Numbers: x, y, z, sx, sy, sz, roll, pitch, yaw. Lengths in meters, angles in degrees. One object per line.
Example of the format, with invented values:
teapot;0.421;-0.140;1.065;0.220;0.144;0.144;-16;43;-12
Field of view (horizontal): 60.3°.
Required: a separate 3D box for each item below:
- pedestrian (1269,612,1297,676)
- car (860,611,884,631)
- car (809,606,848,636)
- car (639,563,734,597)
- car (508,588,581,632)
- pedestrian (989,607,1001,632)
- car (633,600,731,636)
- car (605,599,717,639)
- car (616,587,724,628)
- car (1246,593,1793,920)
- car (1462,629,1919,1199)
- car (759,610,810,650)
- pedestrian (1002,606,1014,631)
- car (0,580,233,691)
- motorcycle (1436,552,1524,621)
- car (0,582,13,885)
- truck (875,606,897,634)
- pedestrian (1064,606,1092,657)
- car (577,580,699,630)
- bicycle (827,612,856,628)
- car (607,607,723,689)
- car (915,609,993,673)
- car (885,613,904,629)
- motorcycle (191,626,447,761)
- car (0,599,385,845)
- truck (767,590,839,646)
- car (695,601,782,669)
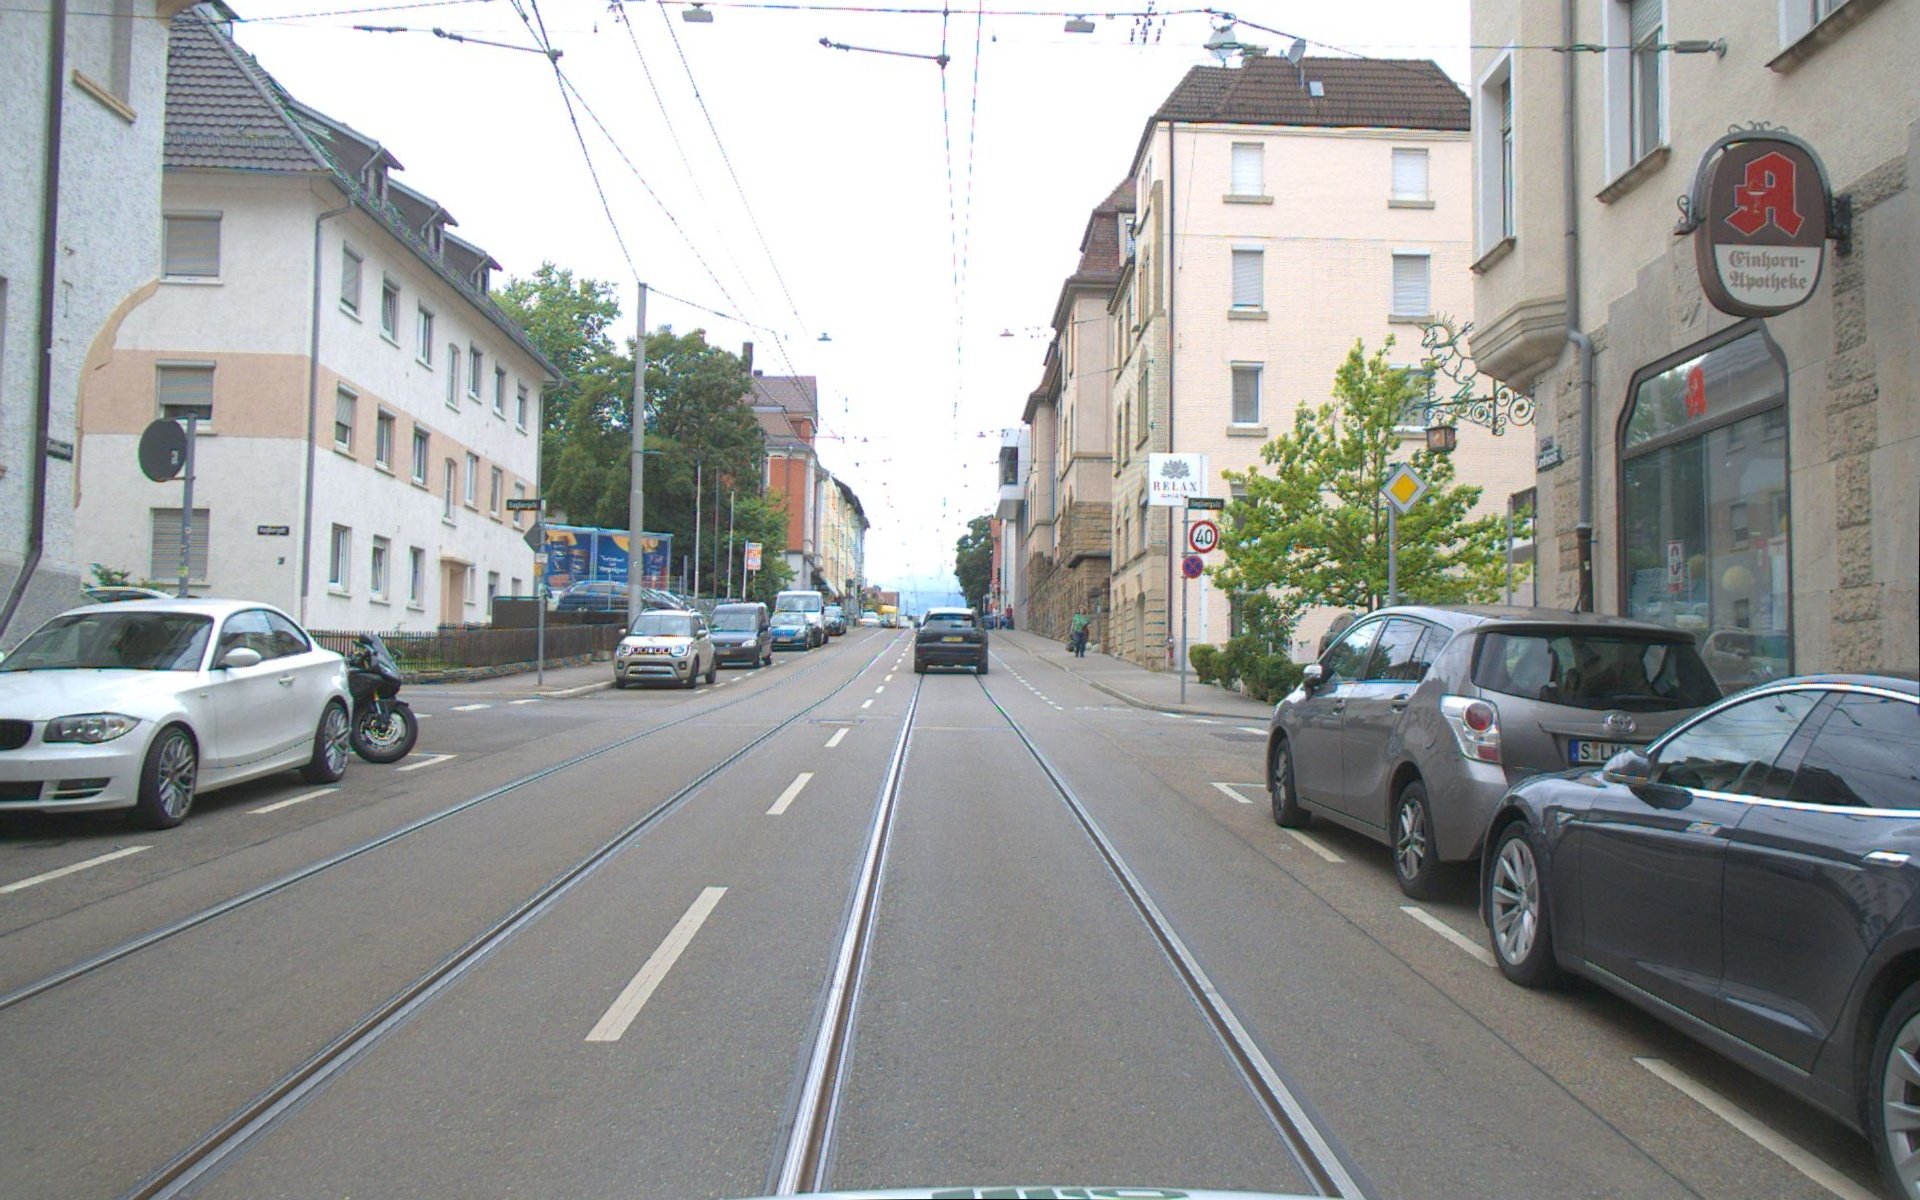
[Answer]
pedestrian;8.311;1.127;42.602;0.547;1.610;0.685;1;-1;0
car;-7.395;1.749;138.840;1.817;1.635;4.296;1;0;-1
car;-6.828;1.076;86.058;1.677;1.472;4.289;1;0;0
car;-11.712;-0.854;71.023;3.797;1.381;1.687;1;0;-2
car;-15.358;0.368;61.286;1.648;1.520;3.889;1;0;0
pedestrian;2.413;1.298;112.687;0.775;1.696;0.799;1;0;1
car;-11.511;0.740;68.687;3.797;1.381;1.687;1;0;-2
car;-11.480;0.725;63.647;3.978;1.470;1.687;1;0;-2
car;-11.566;0.299;66.121;3.978;1.520;1.687;1;0;-2
car;3.221;0.796;10.609;1.700;1.564;4.571;3;0;-3
car;3.307;0.880;5.351;1.744;1.415;4.690;3;0;-2
car;-6.727;1.128;63.764;1.663;1.458;4.479;-1;0;-2
pedestrian;3.296;1.267;112.669;0.775;1.696;0.799;1;0;1
car;-13.500;0.568;25.771;3.442;1.519;1.776;2;-6;-1
motorcycle;10.119;-0.236;32.280;0.908;1.124;2.383;2;-4;-2
car;-5.572;0.673;6.744;1.662;1.494;3.023;-1;0;0
truck;-8.497;2.277;191.383;2.255;3.090;9.031;1;-1;-1
pedestrian;4.012;1.058;56.327;0.853;1.716;0.663;-1;0;-3
car;-11.445;0.190;58.964;3.978;1.579;1.687;3;0;-2
bicycle;-7.807;1.304;109.162;1.872;1.017;0.479;1;0;-1
car;-6.078;0.943;34.485;1.662;1.583;3.850;1;0;1
car;-0.165;1.058;44.451;1.953;1.590;4.289;1;0;0
car;-6.764;2.149;171.634;1.817;1.635;4.296;1;0;-1
motorcycle;-5.766;0.828;14.908;2.063;1.154;0.767;-1;0;13
car;-5.671;0.700;11.587;1.743;1.381;4.291;1;0;0
truck;-6.639;0.733;70.724;2.233;2.226;8.024;1;0;0
car;-6.049;0.921;45.567;1.708;1.766;4.519;-1;0;1
